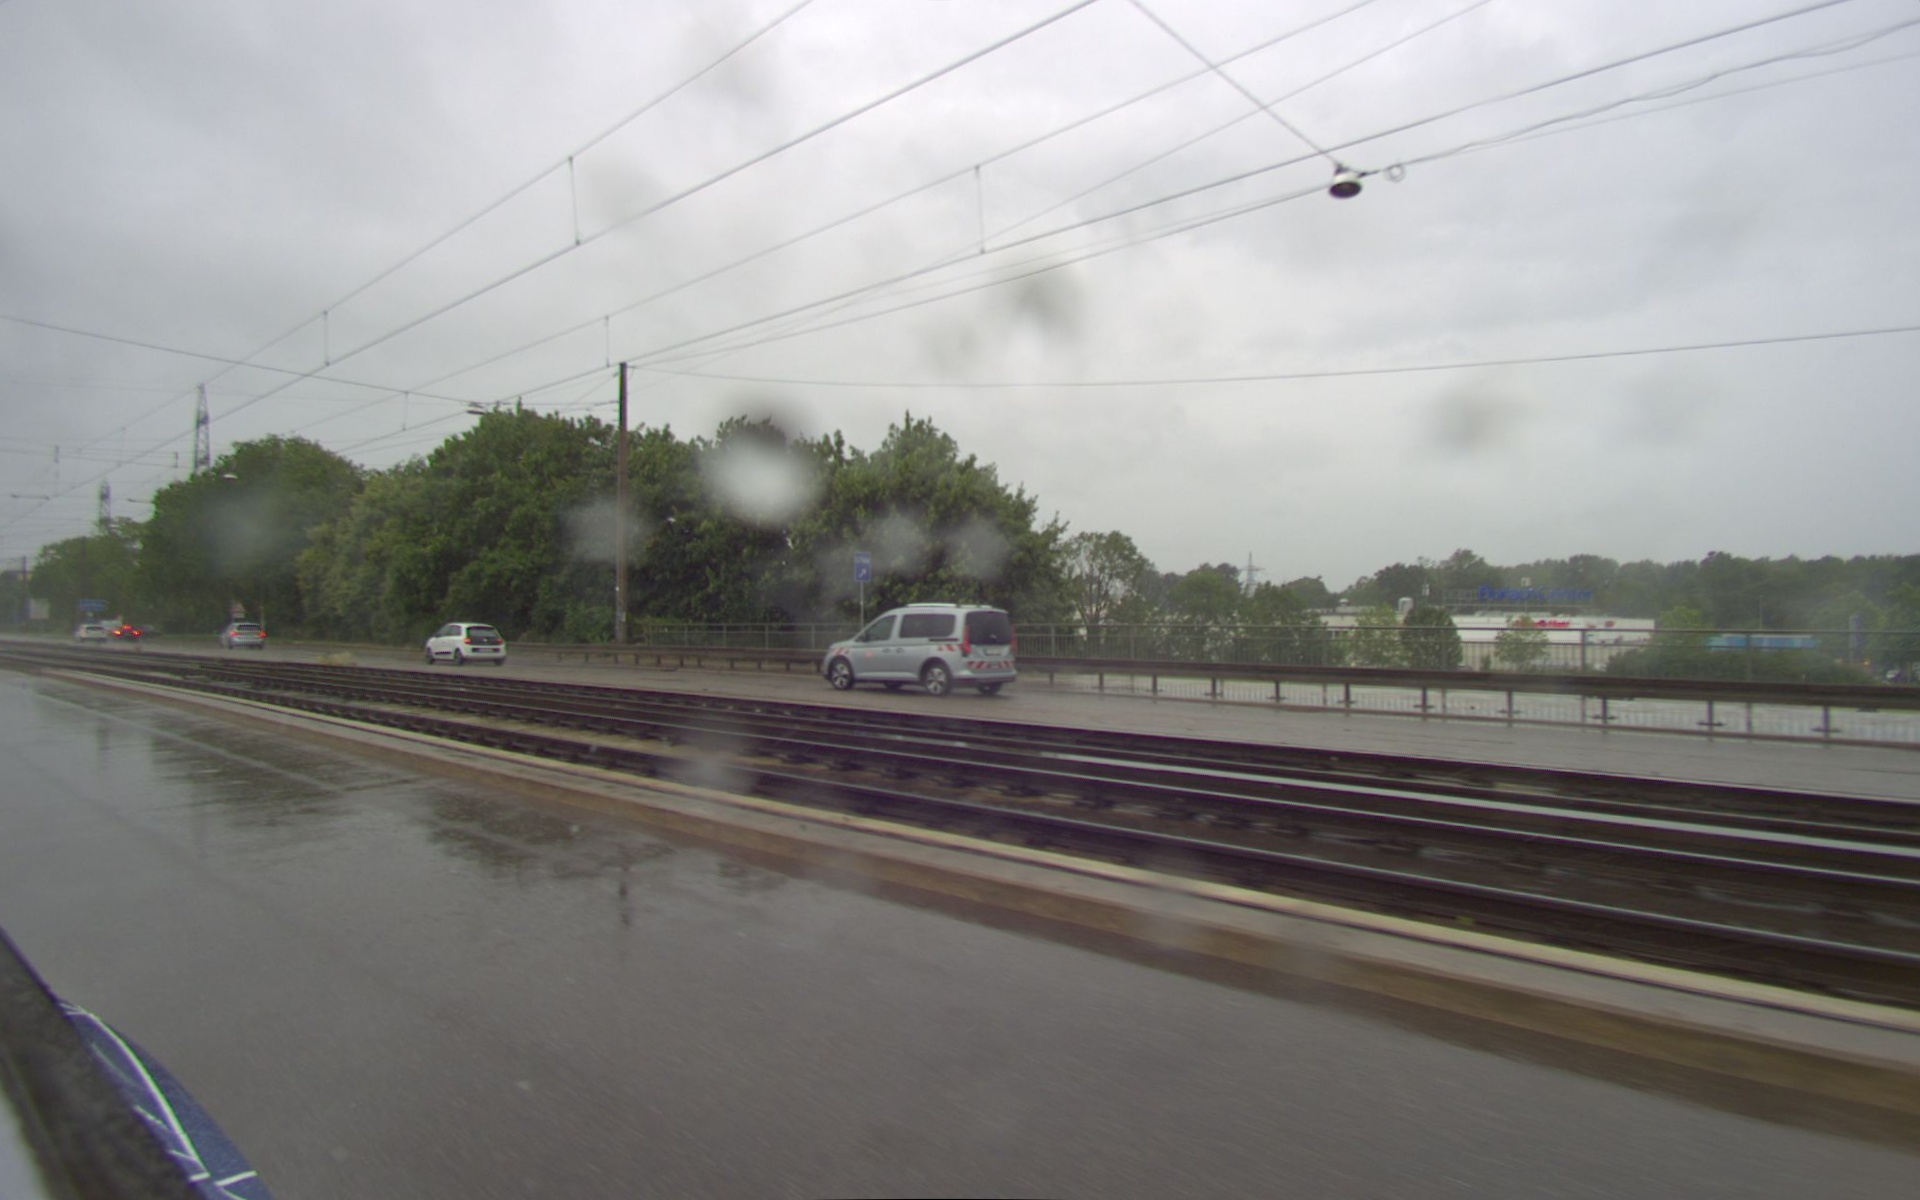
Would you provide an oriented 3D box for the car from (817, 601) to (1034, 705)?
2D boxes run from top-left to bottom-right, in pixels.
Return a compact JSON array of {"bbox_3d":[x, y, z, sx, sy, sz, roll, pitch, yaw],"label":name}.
[{"bbox_3d":[-0.791,1.010,20.943,4.392,1.845,1.829,-1,2,41],"label":"car"}]

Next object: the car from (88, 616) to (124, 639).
[{"bbox_3d":[-85.043,2.728,100.755,4.146,2.119,2.162,-1,2,43],"label":"car"}]

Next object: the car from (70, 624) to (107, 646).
[{"bbox_3d":[-71.620,2.872,83.145,3.669,1.642,1.754,-1,2,41],"label":"car"}]

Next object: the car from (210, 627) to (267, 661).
[{"bbox_3d":[-44.642,2.673,62.554,4.659,1.723,1.814,1,3,41],"label":"car"}]

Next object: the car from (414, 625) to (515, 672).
[{"bbox_3d":[-18.358,1.745,37.406,3.998,1.629,1.973,-1,-2,41],"label":"car"}]

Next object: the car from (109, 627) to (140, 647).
[{"bbox_3d":[-76.478,3.339,92.612,1.753,1.642,3.673,-3,2,-45],"label":"car"}]
